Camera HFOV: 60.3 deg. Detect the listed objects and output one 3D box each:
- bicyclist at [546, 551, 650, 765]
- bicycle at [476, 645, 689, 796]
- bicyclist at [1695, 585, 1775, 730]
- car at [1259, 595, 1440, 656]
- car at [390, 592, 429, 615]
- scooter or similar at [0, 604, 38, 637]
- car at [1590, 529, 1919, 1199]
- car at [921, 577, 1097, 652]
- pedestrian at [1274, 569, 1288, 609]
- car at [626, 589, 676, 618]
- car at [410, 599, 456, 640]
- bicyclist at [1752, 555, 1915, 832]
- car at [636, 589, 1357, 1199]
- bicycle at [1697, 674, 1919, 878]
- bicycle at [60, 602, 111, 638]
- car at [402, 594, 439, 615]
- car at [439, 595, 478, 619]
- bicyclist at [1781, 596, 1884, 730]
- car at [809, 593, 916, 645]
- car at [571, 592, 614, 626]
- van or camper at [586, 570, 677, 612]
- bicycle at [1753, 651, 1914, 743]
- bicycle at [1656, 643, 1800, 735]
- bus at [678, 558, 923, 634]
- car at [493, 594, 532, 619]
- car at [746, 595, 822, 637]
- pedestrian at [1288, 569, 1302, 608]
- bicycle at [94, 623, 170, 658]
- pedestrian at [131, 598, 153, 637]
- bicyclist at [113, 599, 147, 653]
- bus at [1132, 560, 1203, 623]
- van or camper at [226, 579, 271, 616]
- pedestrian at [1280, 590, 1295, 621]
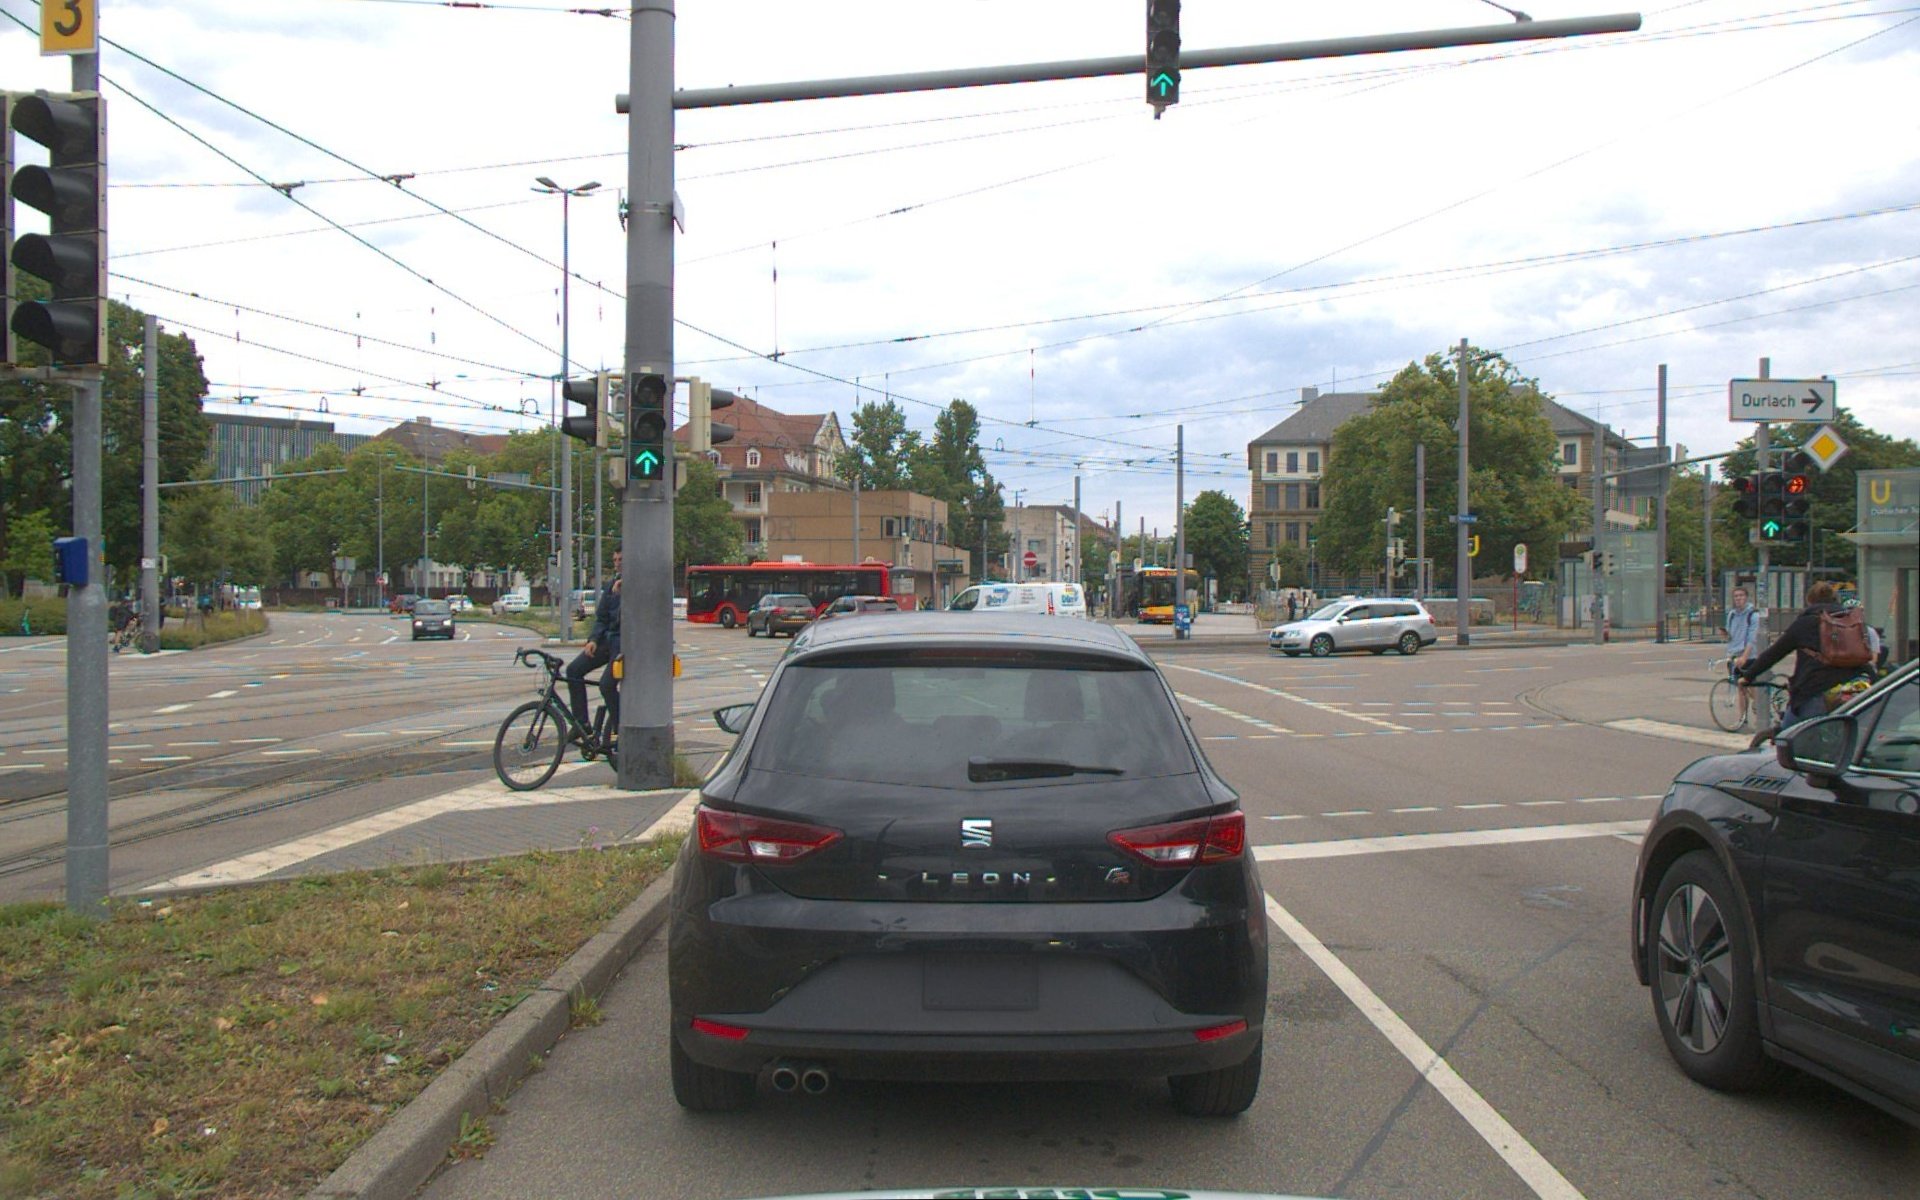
[{"bbox_3d":[-2.905,0.451,13.268,0.649,1.668,0.510,0,0,-40],"label":"bicyclist"},{"bbox_3d":[-2.987,0.928,13.190,1.599,1.088,0.520,-1,0,-41],"label":"bicycle"},{"bbox_3d":[9.860,0.716,21.046,0.724,1.782,0.581,-2,1,-27],"label":"bicyclist"},{"bbox_3d":[10.504,0.661,44.648,4.540,1.508,1.718,-1,1,-17],"label":"car"},{"bbox_3d":[-44.340,0.244,133.223,1.976,1.803,3.952,0,0,-34],"label":"car"},{"bbox_3d":[-38.483,0.842,67.210,1.753,1.325,0.623,-1,0,-33],"label":"scooter or similar"},{"bbox_3d":[3.314,0.664,3.766,1.865,1.687,4.512,0,0,-3],"label":"car"},{"bbox_3d":[1.384,0.394,47.964,4.936,2.054,1.990,0,0,39],"label":"car"},{"bbox_3d":[35.524,-1.231,183.095,1.358,4.328,1.346,0,0,0],"label":"pedestrian"},{"bbox_3d":[-16.965,0.177,90.747,1.966,1.566,3.972,0,0,-23],"label":"car"},{"bbox_3d":[-20.860,0.747,65.392,1.594,1.542,3.644,-1,1,-19],"label":"car"},{"bbox_3d":[5.629,0.573,10.694,0.603,1.720,0.805,0,0,-3],"label":"bicyclist"},{"bbox_3d":[0.063,0.720,5.955,1.710,1.489,3.999,1,0,-1],"label":"car"},{"bbox_3d":[5.628,1.083,10.777,0.612,1.073,2.125,0,1,-3],"label":"bicycle"},{"bbox_3d":[-36.996,0.838,69.979,0.829,1.474,2.255,0,0,4],"label":"bicycle"},{"bbox_3d":[-46.353,0.343,142.034,1.978,1.780,3.949,0,0,-36],"label":"car"},{"bbox_3d":[-36.633,0.505,120.789,1.971,1.668,3.963,0,0,-28],"label":"car"},{"bbox_3d":[10.304,0.724,19.543,0.871,1.548,0.668,0,0,-21],"label":"bicyclist"},{"bbox_3d":[-3.252,0.593,54.689,1.839,1.628,4.161,0,0,-31],"label":"car"},{"bbox_3d":[-22.814,0.552,102.679,1.966,2.049,3.972,0,0,-23],"label":"car"},{"bbox_3d":[-27.344,-0.742,137.894,2.828,3.390,7.102,-2,-1,44],"label":"van or camper"},{"bbox_3d":[10.329,1.129,19.557,1.912,1.016,0.598,0,0,-22],"label":"bicycle"},{"bbox_3d":[9.749,1.105,20.965,1.963,1.015,0.574,-2,1,-28],"label":"bicycle"},{"bbox_3d":[-7.600,-0.162,77.497,12.114,3.355,3.061,0,0,32],"label":"bus"},{"bbox_3d":[-32.428,0.444,119.761,1.971,1.780,3.964,0,0,-28],"label":"car"},{"bbox_3d":[-6.969,0.593,65.221,1.965,1.593,4.178,0,0,-21],"label":"car"},{"bbox_3d":[37.058,-1.234,183.147,1.280,4.328,1.346,0,0,0],"label":"pedestrian"},{"bbox_3d":[-26.810,1.325,53.583,2.081,1.046,0.791,2,-3,-19],"label":"bicycle"},{"bbox_3d":[-37.400,0.783,75.628,0.734,1.764,0.683,-1,0,-15],"label":"pedestrian"},{"bbox_3d":[-26.893,0.855,53.587,0.800,1.685,0.789,-4,-2,-19],"label":"bicyclist"},{"bbox_3d":[11.936,-0.460,94.161,2.952,3.325,13.054,0,0,12],"label":"bus"},{"bbox_3d":[-52.461,-0.190,121.877,2.257,2.571,5.514,-1,1,-31],"label":"van or camper"},{"bbox_3d":[20.200,0.332,102.076,0.806,1.886,1.022,0,0,15],"label":"pedestrian"}]
